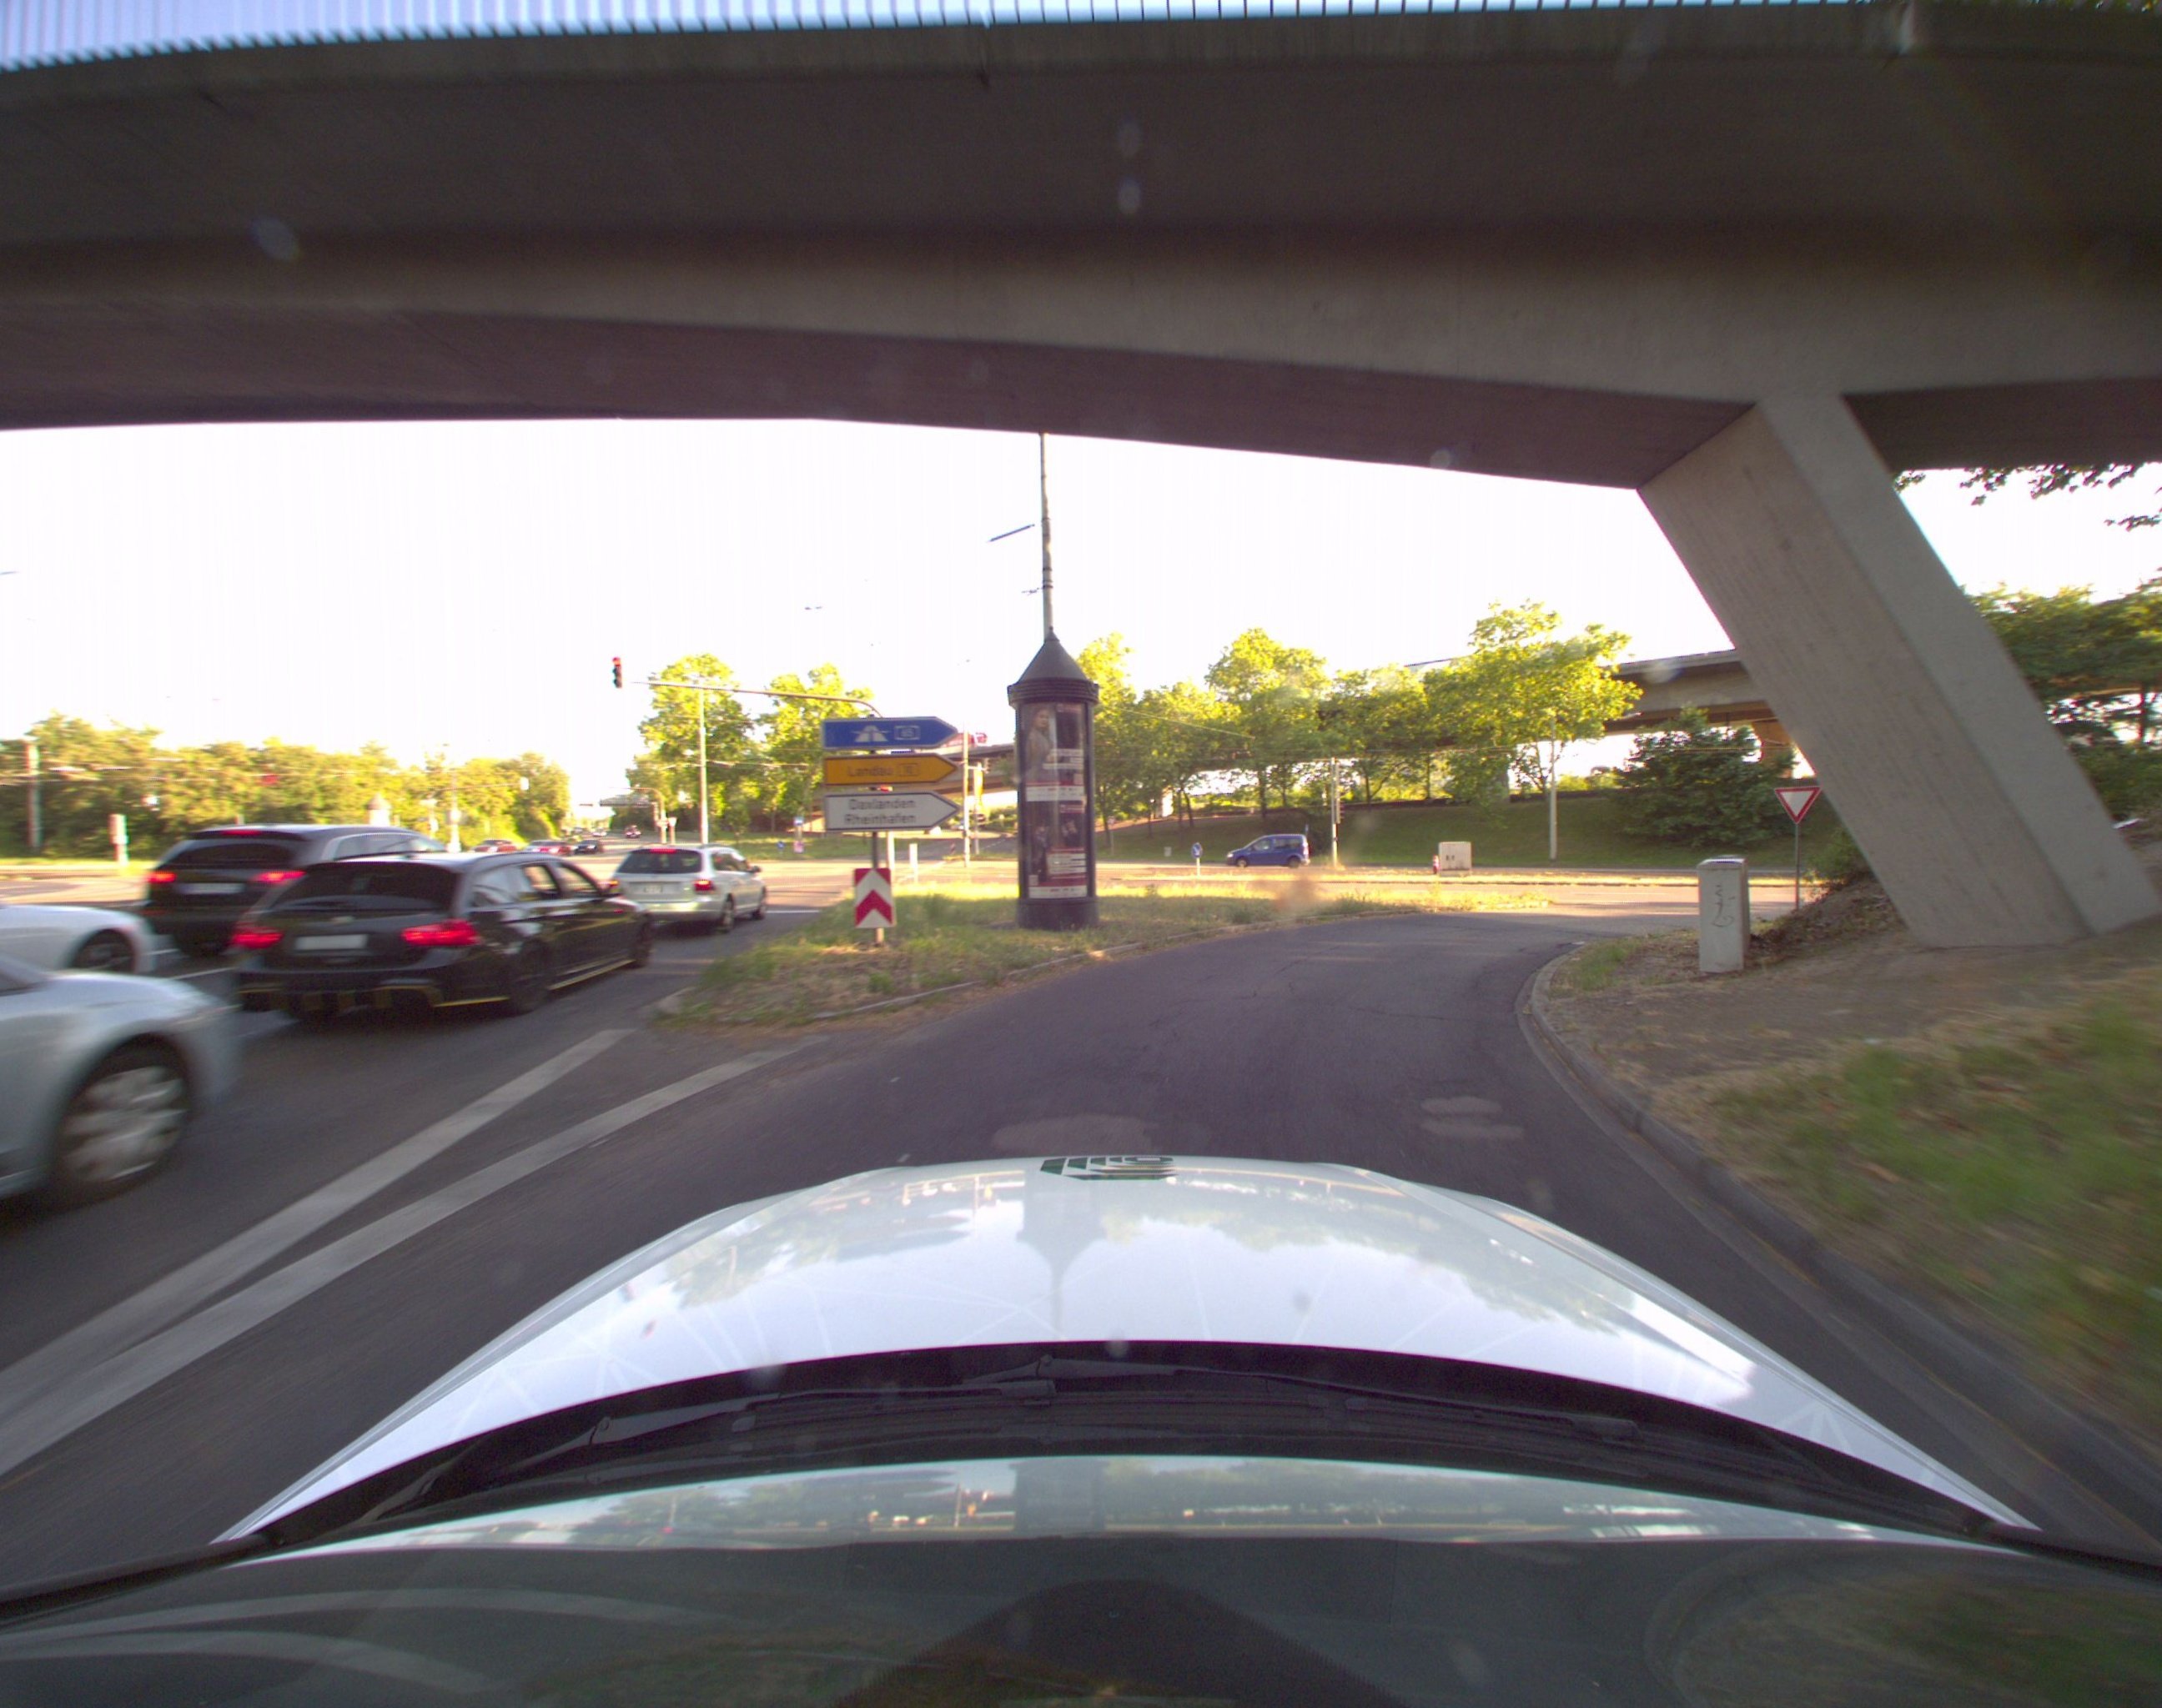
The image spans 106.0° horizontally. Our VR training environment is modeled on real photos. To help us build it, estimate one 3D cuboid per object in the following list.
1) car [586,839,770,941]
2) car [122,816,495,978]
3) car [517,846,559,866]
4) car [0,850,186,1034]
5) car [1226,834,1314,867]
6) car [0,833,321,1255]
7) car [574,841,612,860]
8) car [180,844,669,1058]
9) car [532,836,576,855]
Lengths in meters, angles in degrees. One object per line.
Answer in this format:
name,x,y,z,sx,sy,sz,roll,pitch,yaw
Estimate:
car,-6.880,0.508,14.389,1.793,1.441,3.986,-3,2,-10
car,-10.685,0.450,11.890,1.796,1.792,4.801,-3,2,-15
car,-50.208,0.142,75.375,1.880,1.771,3.984,0,1,-12
car,-9.277,0.715,5.681,1.742,1.432,4.396,0,1,-11
car,9.974,-0.209,43.271,4.476,1.692,2.006,0,1,9
car,-4.617,0.724,2.198,1.793,1.481,3.986,-3,2,-10
car,-46.464,-0.340,77.668,1.880,1.771,3.984,0,1,-12
car,-5.819,0.658,8.104,1.793,1.382,4.461,-3,2,-10
car,-44.293,-0.758,68.569,1.880,1.575,3.660,0,1,-12
